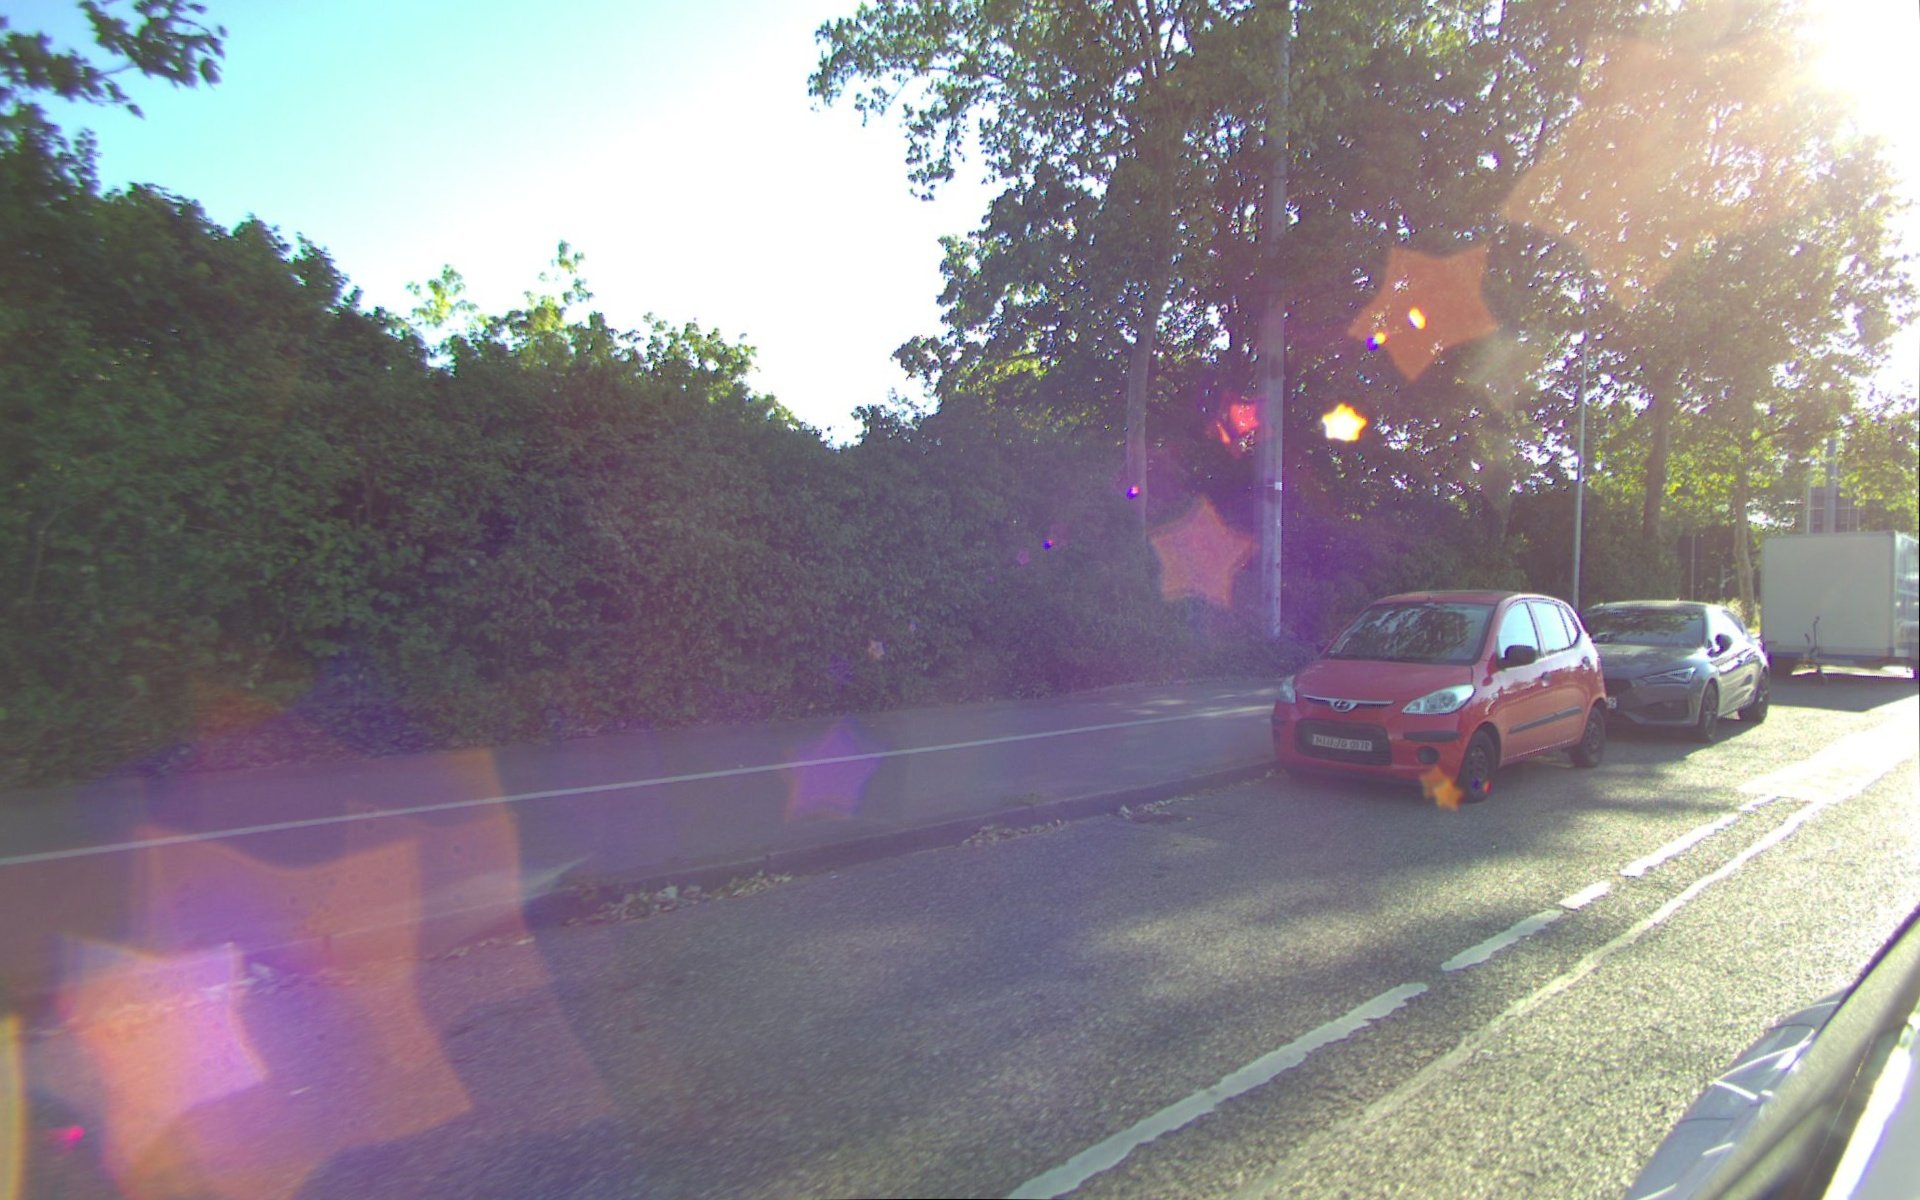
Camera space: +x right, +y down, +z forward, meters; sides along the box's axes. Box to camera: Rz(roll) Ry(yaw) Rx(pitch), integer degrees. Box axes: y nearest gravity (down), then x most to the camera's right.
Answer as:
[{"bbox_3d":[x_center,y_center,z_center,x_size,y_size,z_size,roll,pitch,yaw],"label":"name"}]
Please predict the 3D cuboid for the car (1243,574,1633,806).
[{"bbox_3d":[4.161,0.608,8.602,3.576,1.556,1.643,0,-1,-40],"label":"car"}]

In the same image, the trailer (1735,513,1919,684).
[{"bbox_3d":[16.771,-0.066,18.822,5.837,2.728,2.258,0,1,-37],"label":"trailer"}]

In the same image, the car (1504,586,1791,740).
[{"bbox_3d":[8.090,0.589,11.770,4.093,1.475,1.811,0,0,-42],"label":"car"}]
